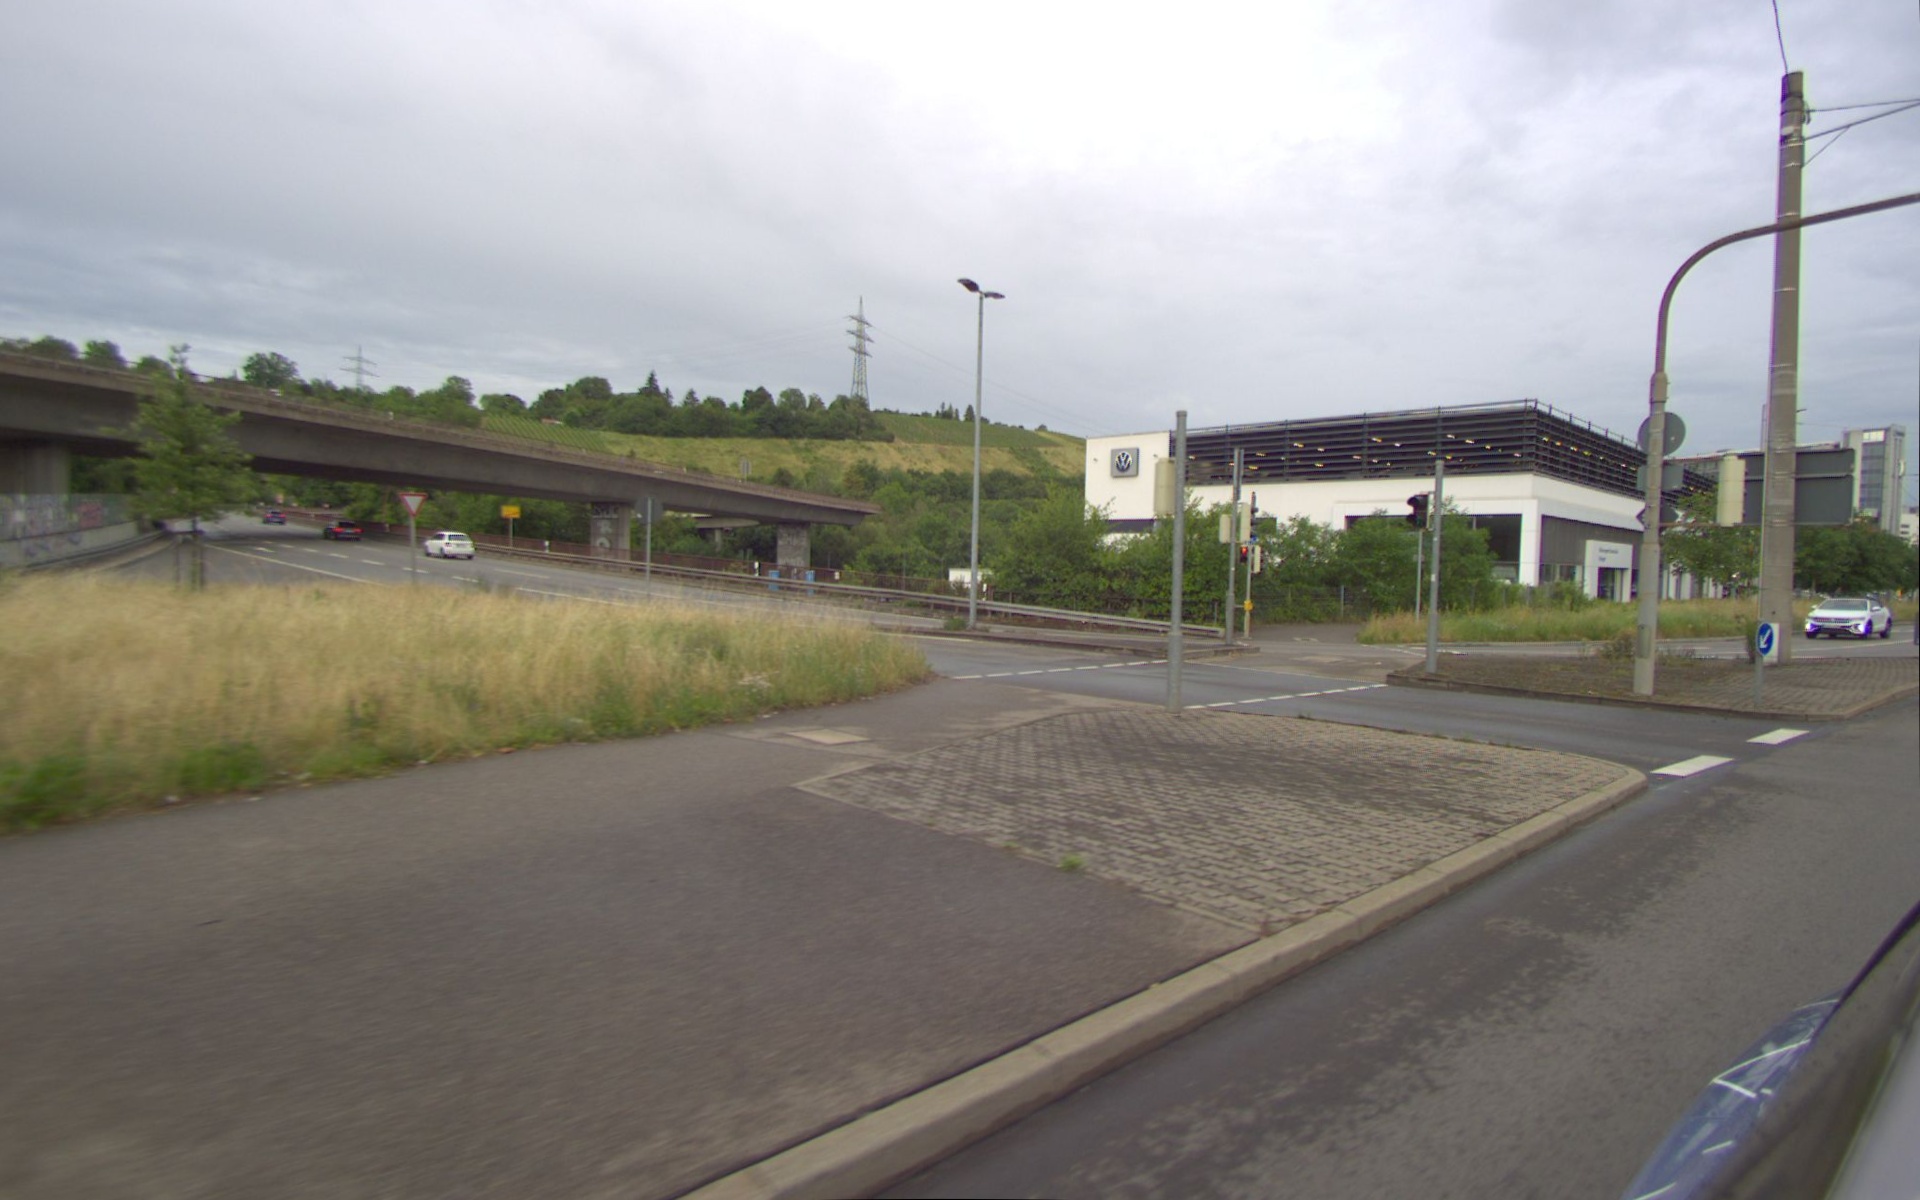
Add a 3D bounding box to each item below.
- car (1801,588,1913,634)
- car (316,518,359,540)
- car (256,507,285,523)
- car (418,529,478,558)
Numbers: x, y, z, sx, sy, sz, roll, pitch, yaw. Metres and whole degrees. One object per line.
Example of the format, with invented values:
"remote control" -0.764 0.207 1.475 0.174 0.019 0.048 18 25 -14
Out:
"car" 32.912 0.358 37.122 4.029 1.559 2.043 0 2 -33
"car" -45.935 -5.235 74.670 1.872 1.504 3.990 0 2 -45
"car" -72.457 -8.953 106.330 1.872 1.504 3.990 0 2 -45
"car" -28.887 -3.186 57.031 1.872 1.504 3.990 0 2 -45
